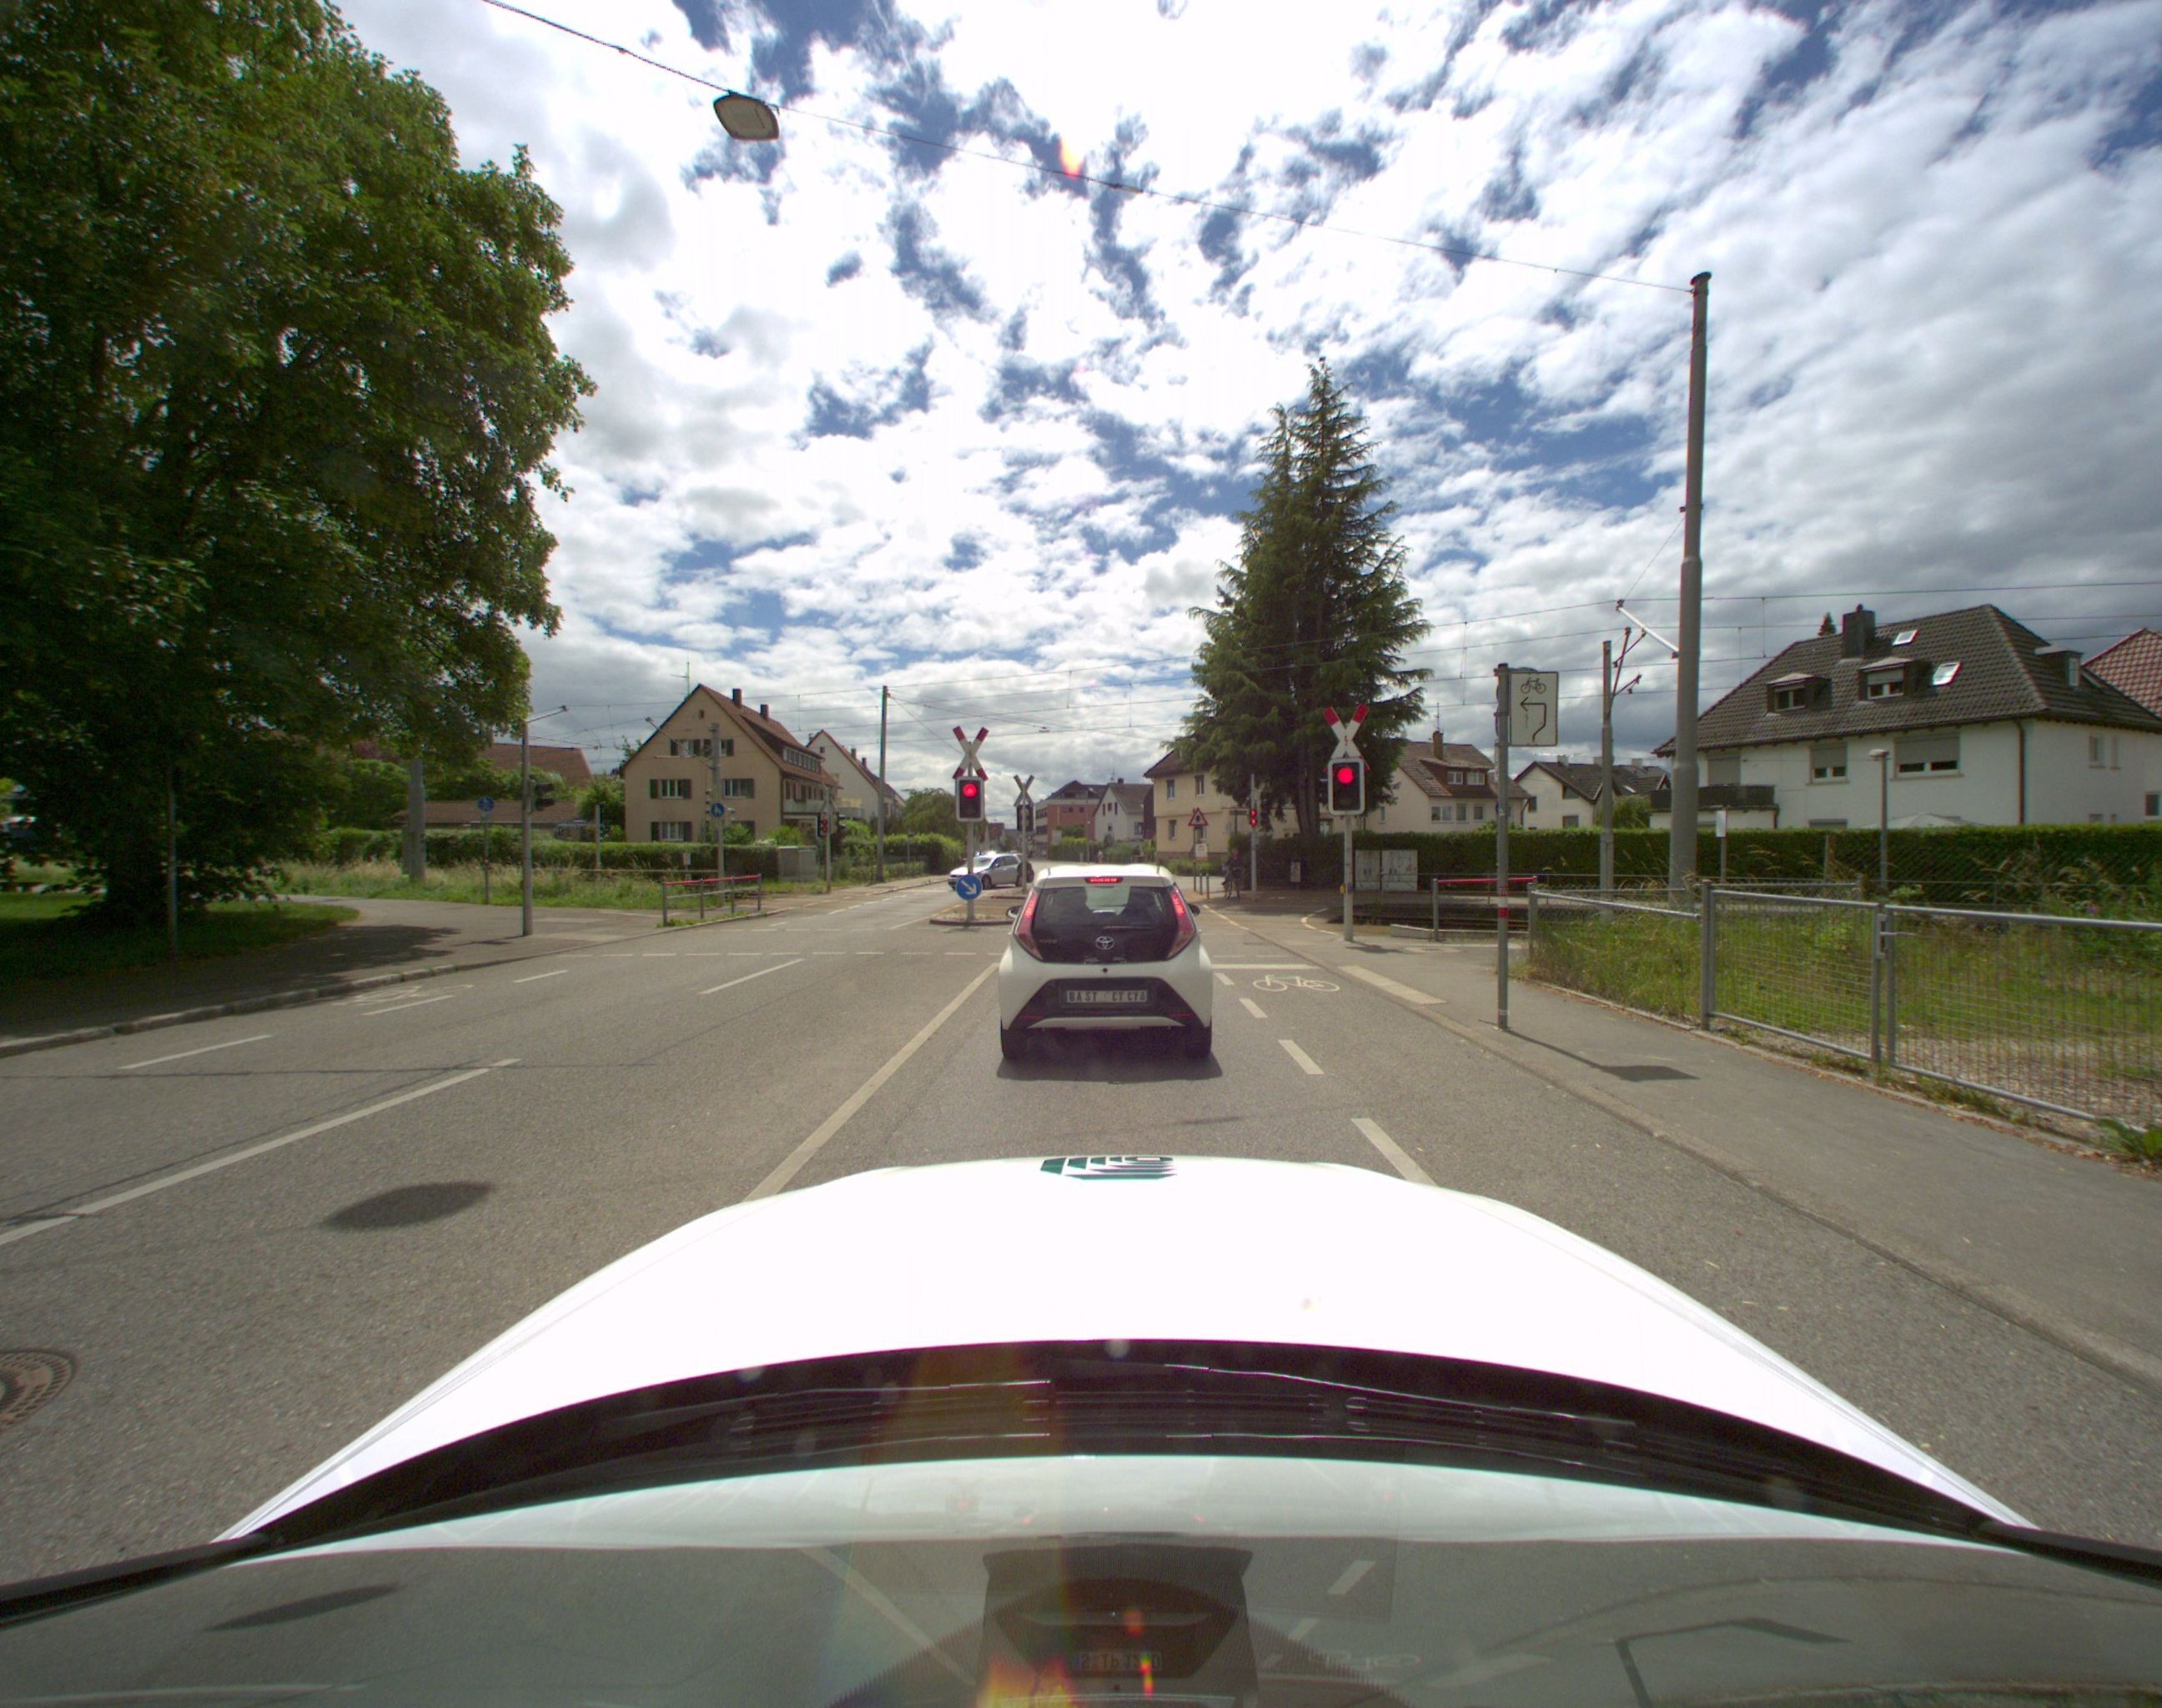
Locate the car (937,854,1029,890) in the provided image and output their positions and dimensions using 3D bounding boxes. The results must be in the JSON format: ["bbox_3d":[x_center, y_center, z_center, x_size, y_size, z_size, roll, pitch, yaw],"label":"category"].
[{"bbox_3d":[-4.206,0.745,35.589,1.887,1.441,4.124,0,0,30],"label":"car"}]

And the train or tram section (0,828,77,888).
[{"bbox_3d":[-74.980,0.207,55.895,18.885,3.704,2.936,0,1,24],"label":"train or tram section"}]

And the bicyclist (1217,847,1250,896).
[{"bbox_3d":[5.052,0.569,27.004,0.839,1.553,0.755,-3,2,-4],"label":"bicyclist"}]

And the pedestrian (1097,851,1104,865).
[{"bbox_3d":[2.165,0.436,90.805,0.723,1.576,0.804,0,0,2],"label":"pedestrian"}]

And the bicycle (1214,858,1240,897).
[{"bbox_3d":[4.861,0.767,27.140,0.456,1.172,1.477,-3,2,-4],"label":"bicycle"}]

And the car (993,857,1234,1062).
[{"bbox_3d":[0.190,0.764,7.674,1.716,1.442,3.706,0,0,-2],"label":"car"}]
